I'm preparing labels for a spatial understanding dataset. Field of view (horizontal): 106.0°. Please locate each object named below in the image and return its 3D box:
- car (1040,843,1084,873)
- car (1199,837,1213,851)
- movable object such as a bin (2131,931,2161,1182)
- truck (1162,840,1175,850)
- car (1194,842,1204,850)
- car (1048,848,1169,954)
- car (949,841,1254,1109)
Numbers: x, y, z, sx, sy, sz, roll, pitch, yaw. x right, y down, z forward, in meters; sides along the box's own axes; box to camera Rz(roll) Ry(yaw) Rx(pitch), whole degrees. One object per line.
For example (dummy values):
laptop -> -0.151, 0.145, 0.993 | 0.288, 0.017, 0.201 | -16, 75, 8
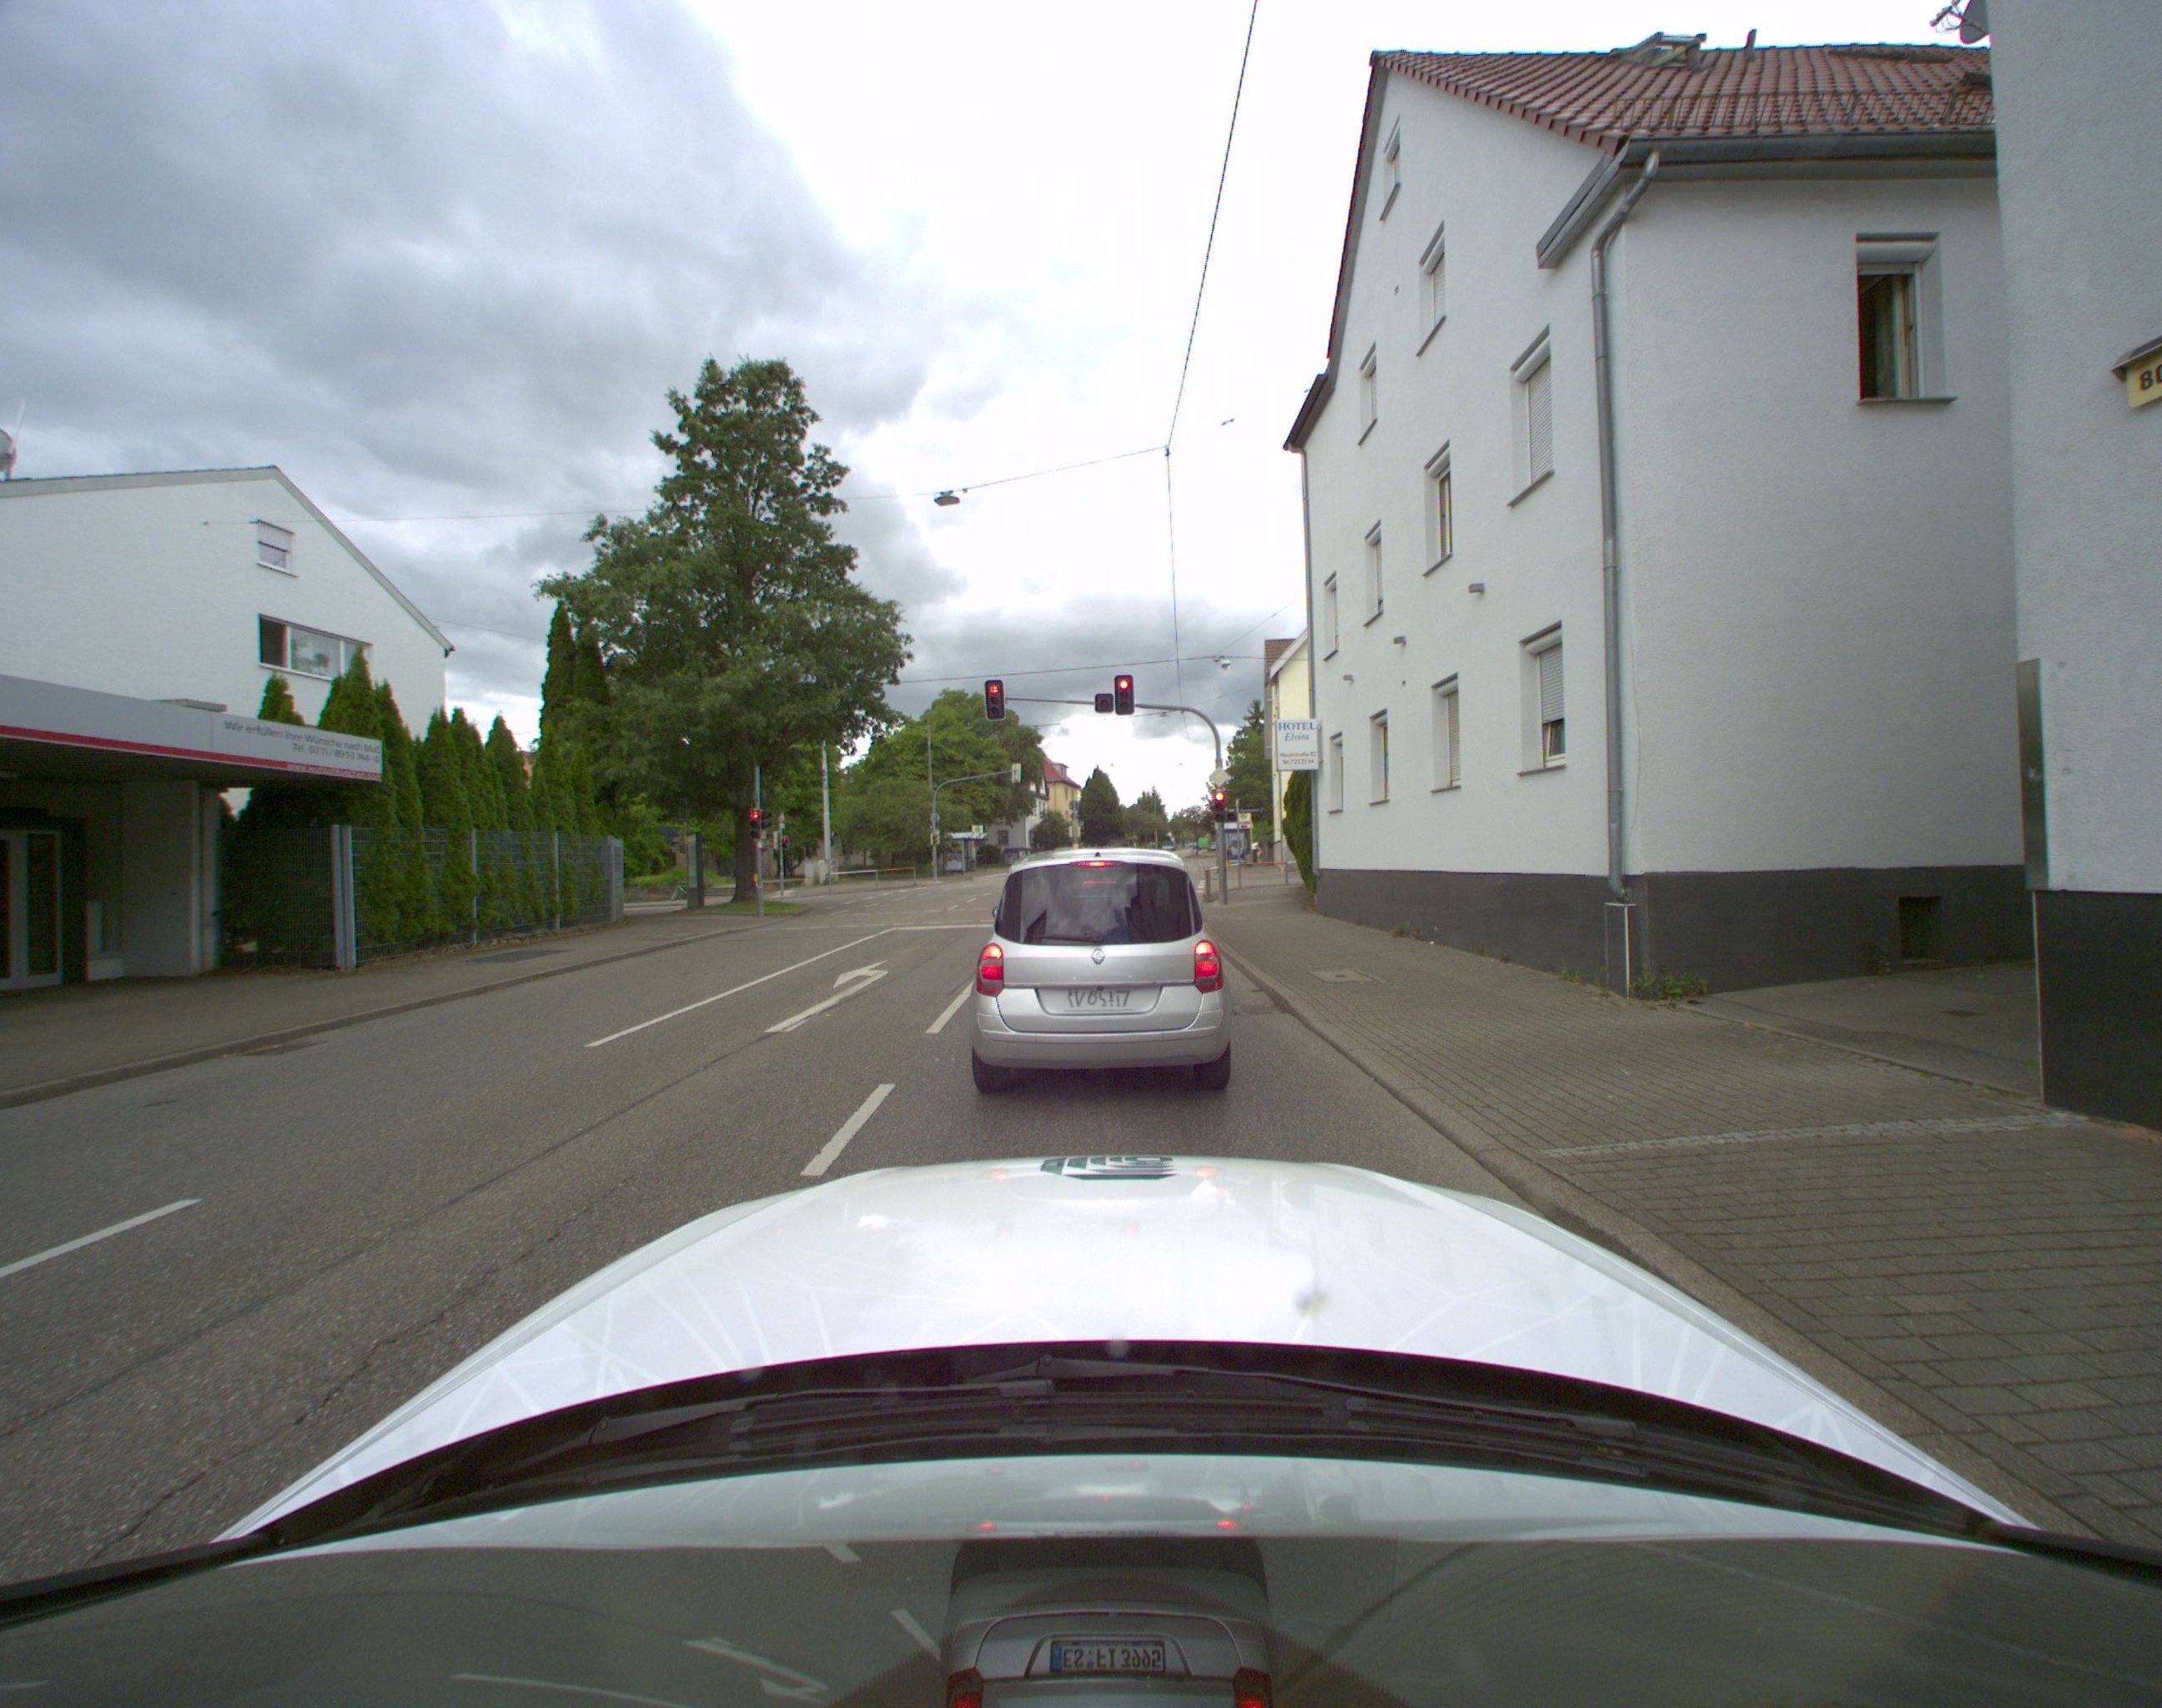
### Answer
car -> -1.230, 0.234, 54.386 | 1.913, 1.773, 4.013 | -5, -1, 12
car -> 23.152, -1.900, 151.248 | 2.044, 2.512, 5.616 | -1, 0, 14
movable object such as a bin -> 4.319, 0.754, 2.872 | 0.538, 0.941, 0.487 | -4, -1, 2
truck -> 17.888, -1.810, 166.364 | 2.088, 2.013, 5.766 | -1, 0, 11
car -> 26.391, -1.697, 182.294 | 1.844, 1.748, 4.015 | -1, 0, 13
car -> 0.448, 0.687, 13.746 | 1.748, 1.530, 3.798 | -1, 0, 1
car -> 0.170, 0.705, 6.717 | 1.748, 1.530, 4.001 | -1, 0, 1
